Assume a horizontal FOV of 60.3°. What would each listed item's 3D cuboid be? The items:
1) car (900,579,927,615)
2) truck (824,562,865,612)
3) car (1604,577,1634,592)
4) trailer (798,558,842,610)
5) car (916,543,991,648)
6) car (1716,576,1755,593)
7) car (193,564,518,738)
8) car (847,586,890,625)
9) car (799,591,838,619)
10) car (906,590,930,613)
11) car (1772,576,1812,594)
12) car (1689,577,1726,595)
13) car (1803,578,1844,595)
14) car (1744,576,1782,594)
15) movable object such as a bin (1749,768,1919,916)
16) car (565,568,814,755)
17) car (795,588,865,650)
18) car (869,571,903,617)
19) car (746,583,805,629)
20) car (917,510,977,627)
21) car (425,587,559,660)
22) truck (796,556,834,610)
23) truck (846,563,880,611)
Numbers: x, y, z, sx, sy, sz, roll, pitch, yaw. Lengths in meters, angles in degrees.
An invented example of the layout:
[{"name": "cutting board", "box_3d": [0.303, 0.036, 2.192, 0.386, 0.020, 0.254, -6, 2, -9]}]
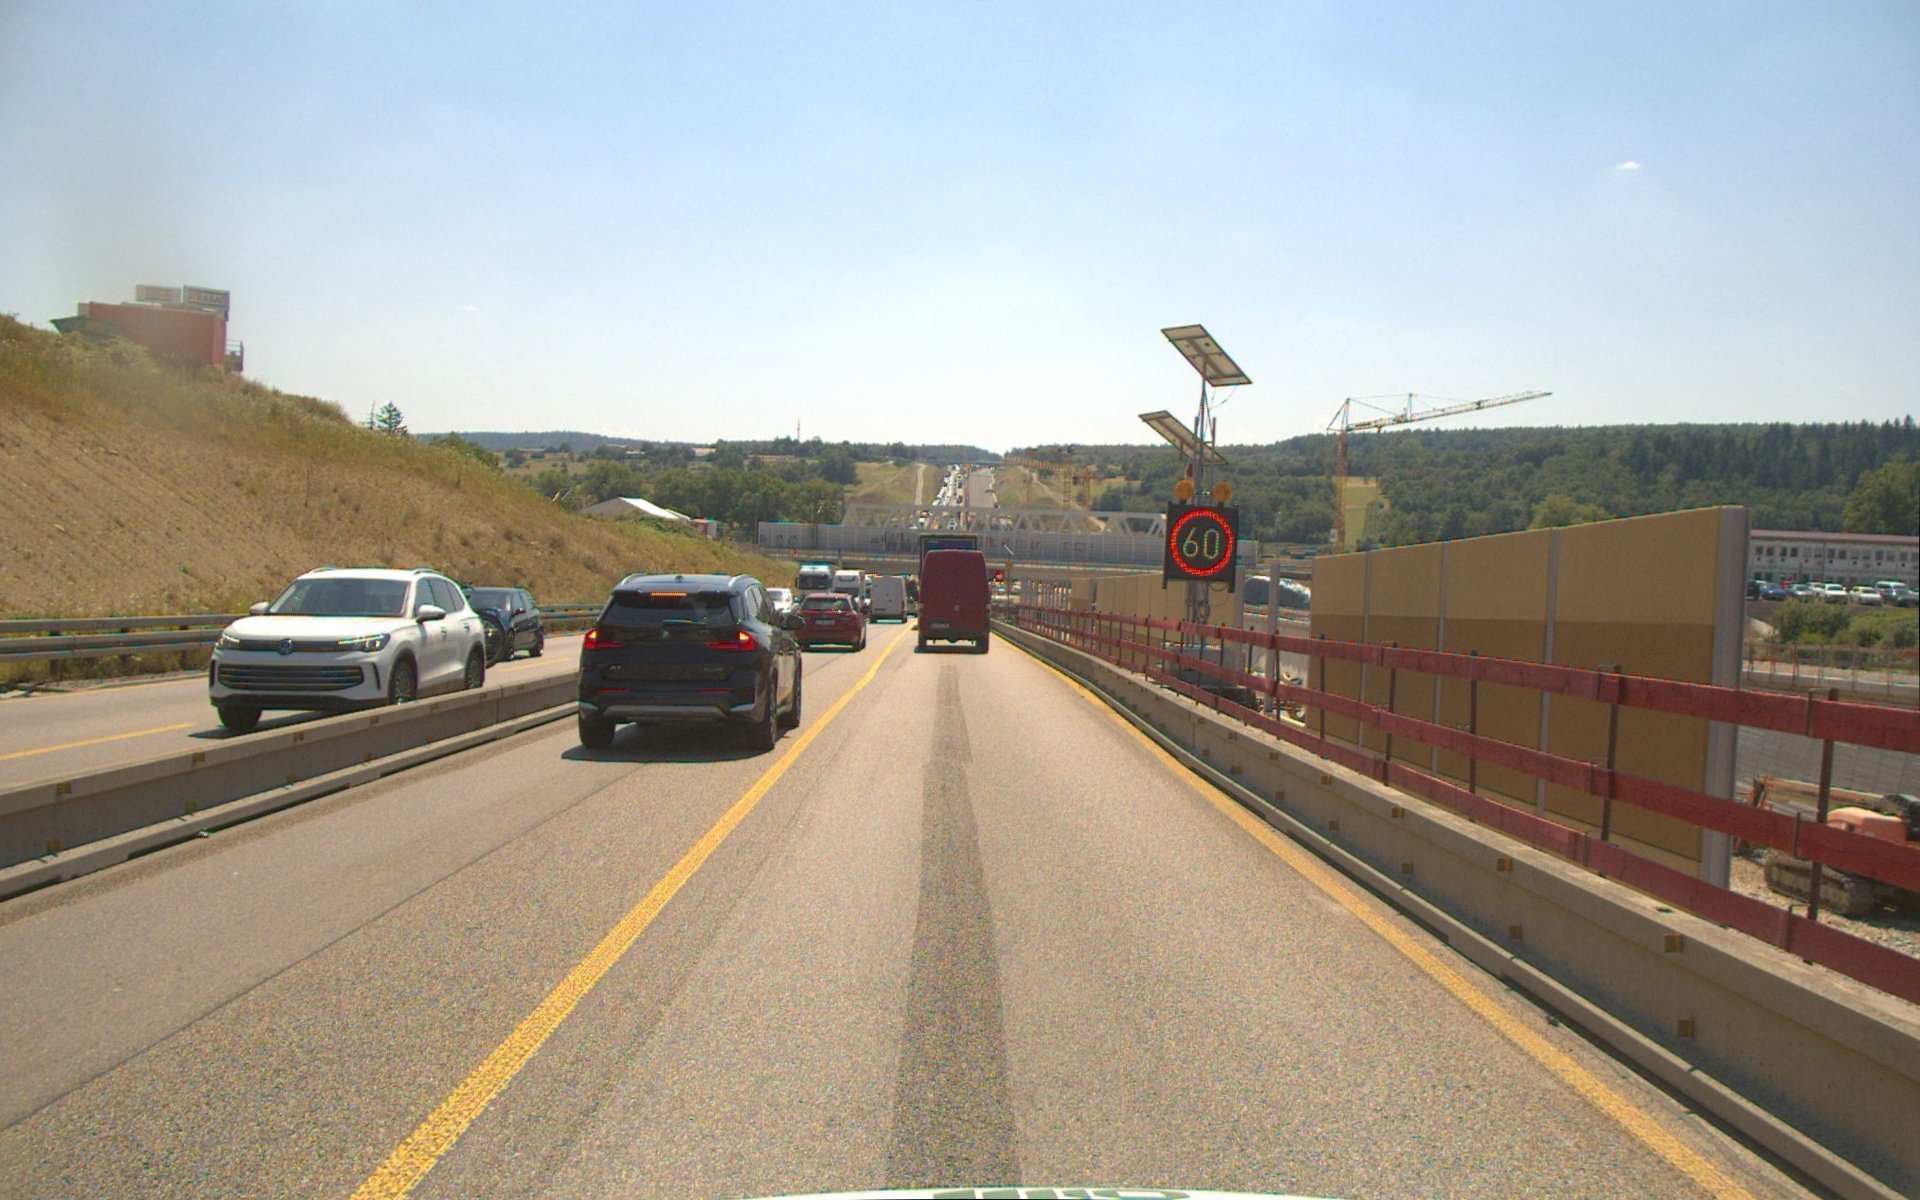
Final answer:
[{"name": "car", "box_3d": [-3.133, -0.204, 111.904, 1.740, 2.370, 4.205, 0, 0, -1]}, {"name": "truck", "box_3d": [-8.293, -0.908, 119.059, 2.486, 3.433, 7.036, 1, 0, -1]}, {"name": "car", "box_3d": [61.271, -1.400, 153.724, 1.483, 1.339, 3.430, 1, 0, 1]}, {"name": "trailer", "box_3d": [-11.589, -1.327, 138.204, 2.643, 4.095, 13.699, 1, 0, -1]}, {"name": "car", "box_3d": [-0.194, -0.123, 45.596, 1.948, 2.737, 4.623, 0, 0, -1]}, {"name": "car", "box_3d": [71.375, -1.415, 152.276, 1.646, 1.544, 4.075, 1, 0, 1]}, {"name": "car", "box_3d": [-6.568, 0.472, 18.699, 1.802, 1.683, 5.370, 0, 0, -1]}, {"name": "car", "box_3d": [-4.082, 0.219, 74.457, 1.802, 1.683, 4.164, 0, 0, -1]}, {"name": "car", "box_3d": [-7.715, 0.255, 90.636, 1.760, 1.452, 4.949, 1, 0, -1]}, {"name": "car", "box_3d": [-3.150, 0.082, 125.033, 1.740, 1.699, 4.028, 0, 0, -1]}, {"name": "car", "box_3d": [76.339, -1.359, 151.870, 1.673, 1.544, 4.075, 1, 0, 1]}, {"name": "car", "box_3d": [68.897, -1.281, 152.520, 1.646, 1.544, 4.075, 1, 0, 1]}, {"name": "car", "box_3d": [78.927, -1.217, 151.154, 1.678, 1.544, 4.075, 1, 0, 1]}, {"name": "car", "box_3d": [73.879, -1.384, 152.204, 1.646, 1.544, 4.075, 1, 0, 1]}, {"name": "movable object such as a bin", "box_3d": [19.800, 5.257, 36.482, 2.555, 2.533, 4.453, 2, 0, -1]}, {"name": "car", "box_3d": [-2.587, 0.532, 16.847, 1.841, 1.646, 4.498, 0, 0, -1]}, {"name": "car", "box_3d": [-3.439, 0.457, 43.490, 1.741, 1.544, 4.201, 0, 0, -5]}, {"name": "car", "box_3d": [-4.051, -0.339, 91.328, 1.740, 2.484, 4.205, 0, 0, -1]}, {"name": "car", "box_3d": [-7.149, 0.230, 64.457, 1.807, 1.694, 4.687, 1, 0, -1]}, {"name": "car", "box_3d": [-0.633, -1.404, 77.451, 2.567, 5.120, 10.395, 0, 0, -1]}, {"name": "car", "box_3d": [-9.816, 0.445, 35.024, 1.675, 1.443, 4.242, 0, 0, -1]}, {"name": "truck", "box_3d": [-11.456, -1.303, 130.597, 2.643, 4.120, 3.954, 1, 0, -1]}, {"name": "truck", "box_3d": [-8.114, -1.093, 139.077, 2.537, 3.824, 7.357, 1, 0, -1]}]
